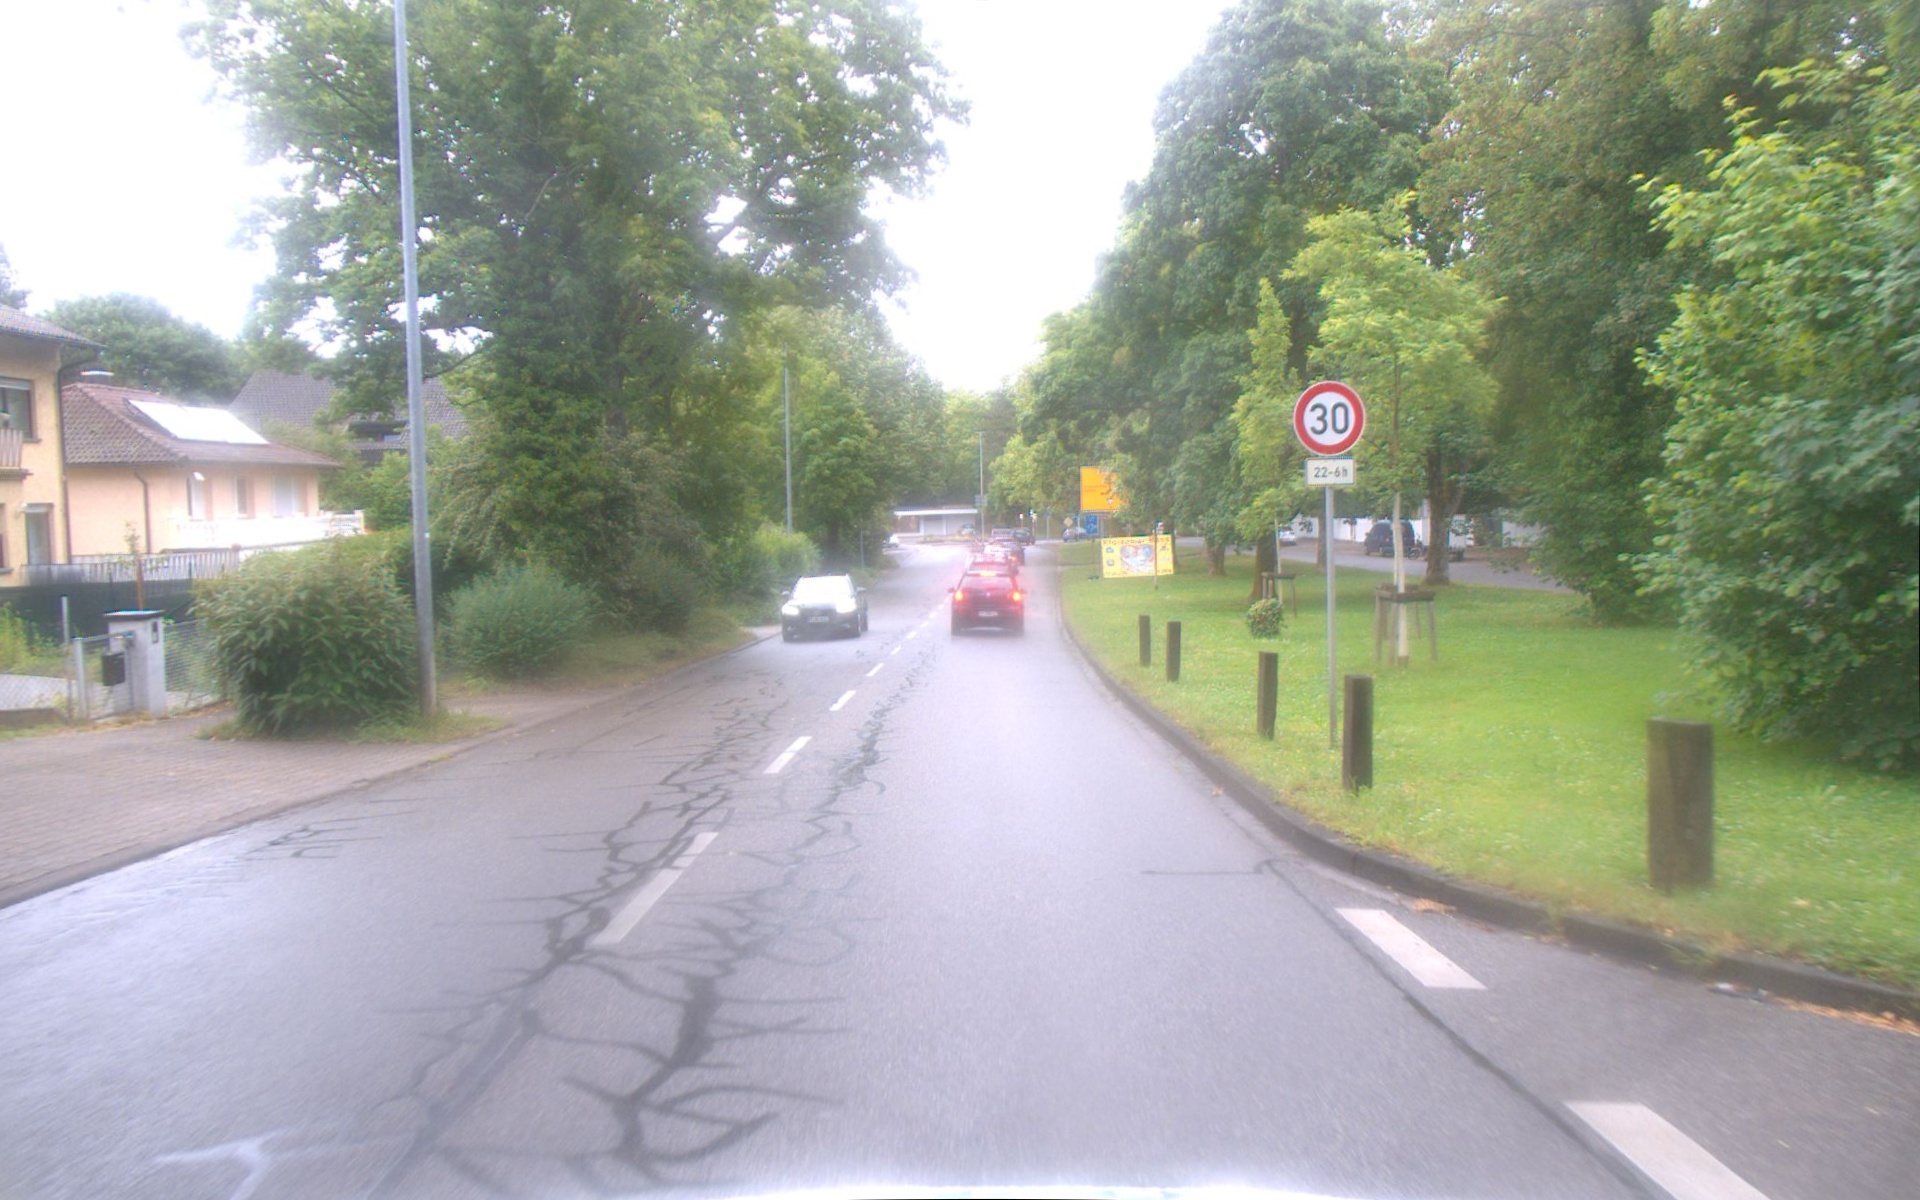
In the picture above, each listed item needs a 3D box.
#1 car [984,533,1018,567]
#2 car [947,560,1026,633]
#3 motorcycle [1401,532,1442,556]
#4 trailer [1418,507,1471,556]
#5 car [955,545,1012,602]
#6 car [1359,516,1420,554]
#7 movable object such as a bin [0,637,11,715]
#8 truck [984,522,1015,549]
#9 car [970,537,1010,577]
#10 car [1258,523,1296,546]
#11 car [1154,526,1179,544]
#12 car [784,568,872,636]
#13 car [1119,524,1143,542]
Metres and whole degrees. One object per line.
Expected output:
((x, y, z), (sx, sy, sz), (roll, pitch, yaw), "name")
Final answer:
((2.323, -2.826, 92.261), (1.817, 1.815, 4.002), (-1, 2, 2), "car")
((0.678, -0.126, 39.396), (1.761, 1.541, 3.756), (1, 2, 2), "car")
((22.602, -2.720, 80.979), (1.846, 1.111, 0.659), (0, 4, 22), "motorcycle")
((22.952, -3.248, 78.428), (1.408, 2.191, 2.949), (-3, 3, -3), "trailer")
((0.858, -0.952, 57.675), (1.817, 1.815, 4.002), (-1, 2, 2), "car")
((22.830, -3.490, 88.081), (1.902, 1.840, 4.650), (-3, 3, -1), "car")
((-10.798, 0.833, 17.874), (0.694, 0.839, 0.634), (0, 1, -1), "movable object such as a bin")
((3.086, -5.092, 130.581), (2.367, 2.039, 5.152), (-2, 2, 1), "truck")
((1.467, -2.111, 79.548), (1.817, 1.815, 4.002), (-1, 2, 2), "car")
((21.907, -4.522, 114.388), (1.584, 1.433, 4.009), (-3, 4, -3), "car")
((18.297, -5.802, 146.829), (1.766, 1.430, 4.003), (-3, 3, 2), "car")
((-3.137, 0.002, 40.020), (1.718, 1.386, 4.326), (-3, 2, 0), "car")
((15.191, -5.962, 146.902), (1.766, 1.409, 4.003), (-3, 3, 2), "car")
